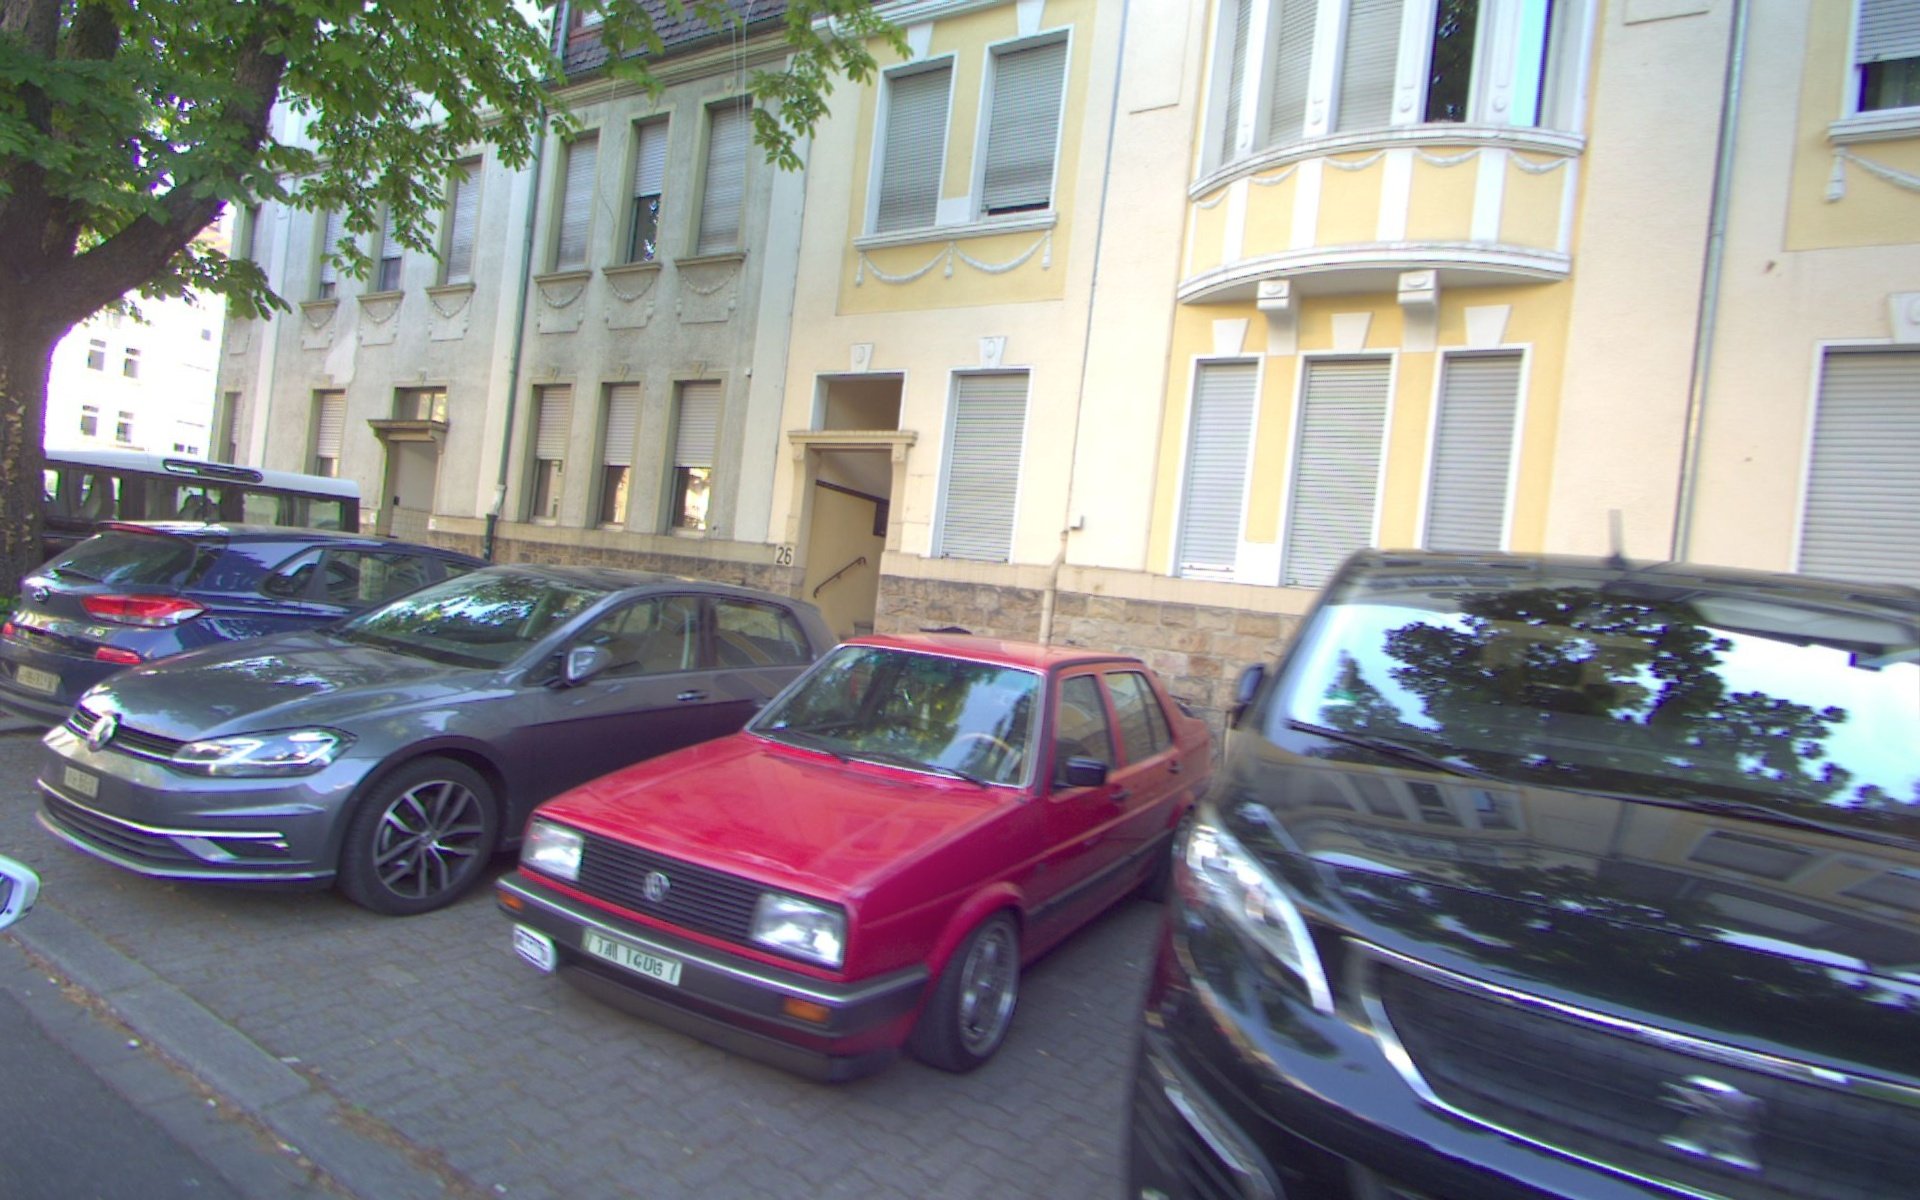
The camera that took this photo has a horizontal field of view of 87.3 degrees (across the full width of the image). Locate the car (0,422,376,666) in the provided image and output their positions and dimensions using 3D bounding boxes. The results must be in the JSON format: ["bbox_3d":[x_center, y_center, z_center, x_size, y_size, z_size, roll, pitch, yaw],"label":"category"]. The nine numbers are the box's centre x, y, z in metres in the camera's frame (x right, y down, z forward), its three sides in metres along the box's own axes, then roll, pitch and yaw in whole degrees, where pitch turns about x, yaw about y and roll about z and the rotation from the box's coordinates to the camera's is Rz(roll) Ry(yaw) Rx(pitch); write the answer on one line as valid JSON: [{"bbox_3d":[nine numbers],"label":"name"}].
[{"bbox_3d":[-8.440,-0.495,9.751,1.671,2.061,4.473,6,0,28],"label":"car"}]

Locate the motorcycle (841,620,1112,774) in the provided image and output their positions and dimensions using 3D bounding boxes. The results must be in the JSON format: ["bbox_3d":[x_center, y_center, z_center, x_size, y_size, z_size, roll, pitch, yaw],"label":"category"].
[{"bbox_3d":[0.128,0.884,9.908,2.439,1.087,0.959,7,2,32],"label":"motorcycle"}]

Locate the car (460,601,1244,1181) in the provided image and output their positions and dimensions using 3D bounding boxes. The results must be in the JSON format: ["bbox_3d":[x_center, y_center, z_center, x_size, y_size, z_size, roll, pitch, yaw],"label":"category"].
[{"bbox_3d":[0.058,0.855,4.773,1.601,1.332,4.144,6,0,27],"label":"car"}]

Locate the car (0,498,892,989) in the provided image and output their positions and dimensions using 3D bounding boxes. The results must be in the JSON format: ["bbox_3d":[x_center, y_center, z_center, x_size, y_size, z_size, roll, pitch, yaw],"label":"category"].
[{"bbox_3d":[-2.216,0.521,5.343,1.693,1.470,4.060,6,0,28],"label":"car"}]

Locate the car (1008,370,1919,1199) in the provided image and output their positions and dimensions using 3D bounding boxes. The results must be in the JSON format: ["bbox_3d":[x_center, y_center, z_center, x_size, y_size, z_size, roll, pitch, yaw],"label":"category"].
[{"bbox_3d":[2.018,0.786,3.397,1.864,1.898,4.759,6,0,27],"label":"car"}]

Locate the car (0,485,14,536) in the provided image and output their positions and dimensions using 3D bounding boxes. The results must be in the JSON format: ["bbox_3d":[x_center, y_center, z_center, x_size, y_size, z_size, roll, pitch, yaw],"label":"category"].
[{"bbox_3d":[-29.754,-2.843,28.668,1.488,1.467,3.697,7,-1,23],"label":"car"}]

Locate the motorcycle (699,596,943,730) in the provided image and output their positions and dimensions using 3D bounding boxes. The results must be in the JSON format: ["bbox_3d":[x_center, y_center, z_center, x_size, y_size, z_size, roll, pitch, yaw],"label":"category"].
[{"bbox_3d":[-1.618,0.655,11.296,2.821,1.087,0.694,7,2,31],"label":"motorcycle"}]

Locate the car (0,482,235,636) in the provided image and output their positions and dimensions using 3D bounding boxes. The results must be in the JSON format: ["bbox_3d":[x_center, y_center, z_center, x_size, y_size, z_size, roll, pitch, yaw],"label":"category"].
[{"bbox_3d":[-10.814,-0.520,11.439,1.679,1.589,3.730,6,0,28],"label":"car"}]

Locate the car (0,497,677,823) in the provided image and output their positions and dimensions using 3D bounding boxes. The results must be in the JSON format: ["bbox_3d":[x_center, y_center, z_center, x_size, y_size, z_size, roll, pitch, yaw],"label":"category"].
[{"bbox_3d":[-3.912,0.330,6.708,1.679,1.470,3.730,6,0,28],"label":"car"}]
